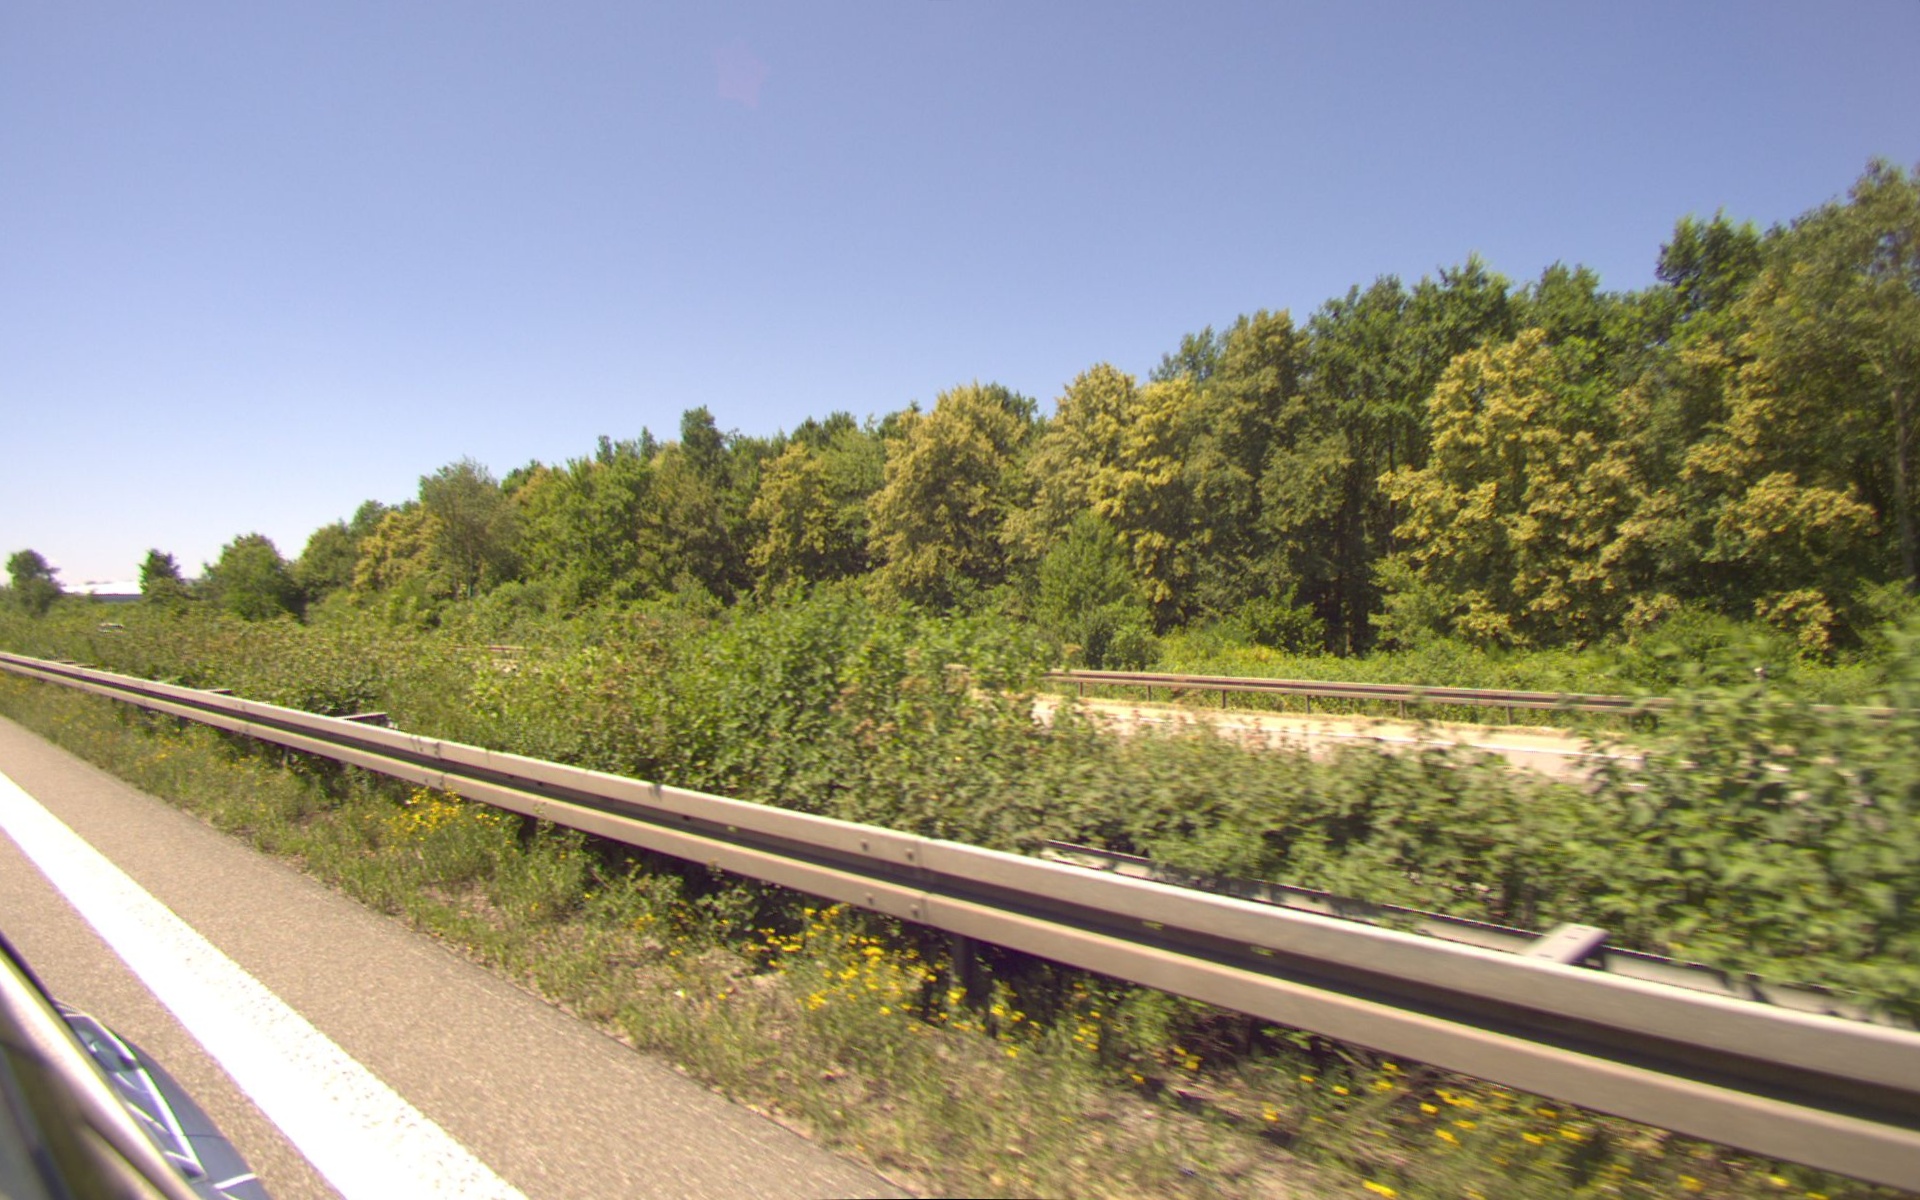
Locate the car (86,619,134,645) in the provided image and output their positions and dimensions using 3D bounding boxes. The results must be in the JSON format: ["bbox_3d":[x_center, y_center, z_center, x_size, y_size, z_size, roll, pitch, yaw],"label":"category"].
[{"bbox_3d":[-51.096,1.901,60.832,3.998,1.529,1.591,-1,-1,41],"label":"car"}]
